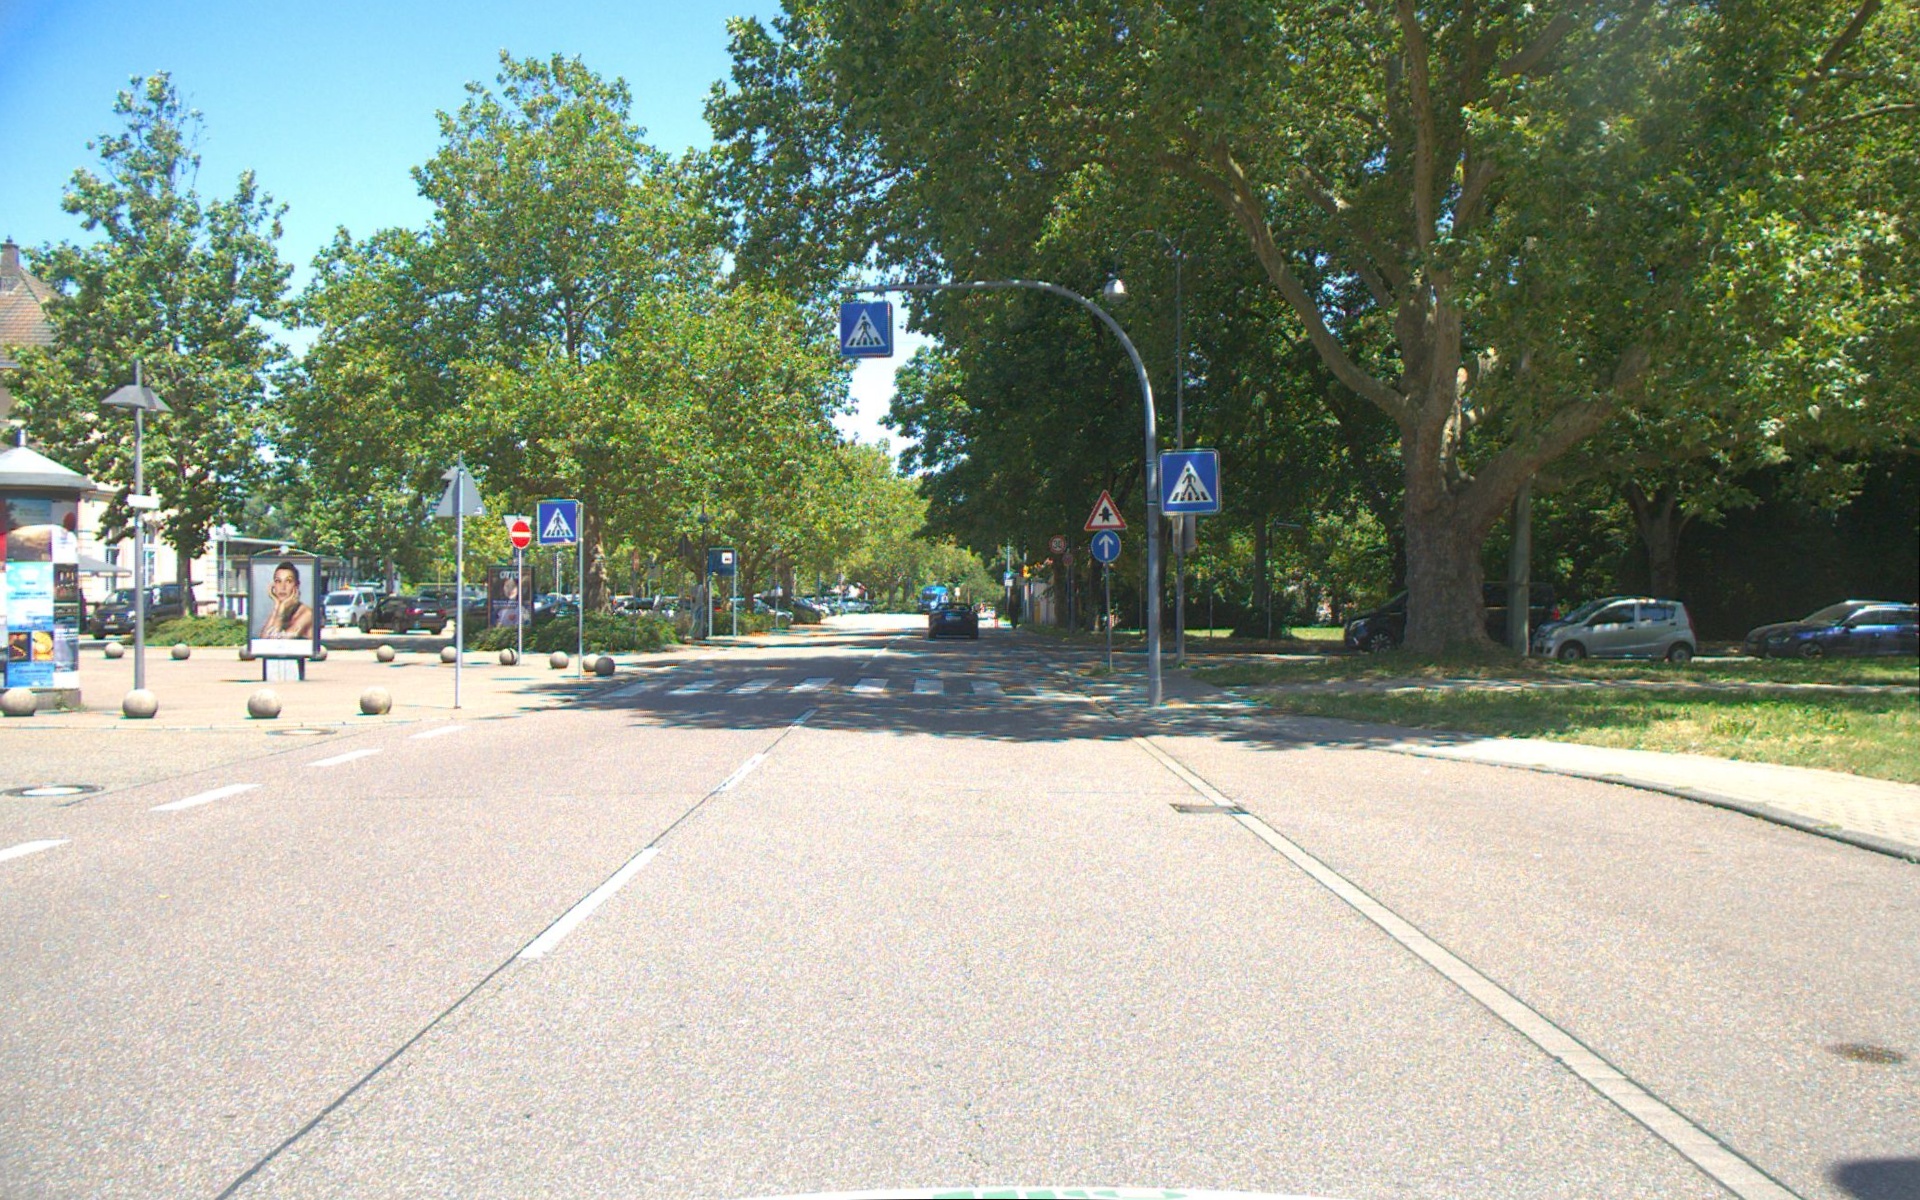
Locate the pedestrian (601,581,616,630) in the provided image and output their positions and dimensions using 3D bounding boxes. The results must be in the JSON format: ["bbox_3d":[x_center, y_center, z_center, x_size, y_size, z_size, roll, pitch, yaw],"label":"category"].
[{"bbox_3d":[-14.912,0.244,70.155,0.614,2.049,0.568,0,-2,-14],"label":"pedestrian"}]

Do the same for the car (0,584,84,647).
[{"bbox_3d":[-30.487,0.491,53.616,1.715,1.951,4.774,0,-1,-1],"label":"car"}]

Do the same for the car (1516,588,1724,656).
[{"bbox_3d":[15.152,0.497,38.157,4.019,1.492,2.001,0,0,2],"label":"car"}]

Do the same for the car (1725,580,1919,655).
[{"bbox_3d":[20.291,0.381,37.763,4.723,1.635,2.001,0,0,3],"label":"car"}]

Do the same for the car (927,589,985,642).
[{"bbox_3d":[-0.161,0.571,62.072,2.082,1.881,4.047,0,0,-1],"label":"car"}]

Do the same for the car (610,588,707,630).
[{"bbox_3d":[-13.158,0.411,72.078,3.926,1.813,1.989,0,-1,-19],"label":"car"}]

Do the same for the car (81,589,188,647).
[{"bbox_3d":[-30.255,0.644,60.772,1.953,2.049,3.999,0,0,-1],"label":"car"}]
